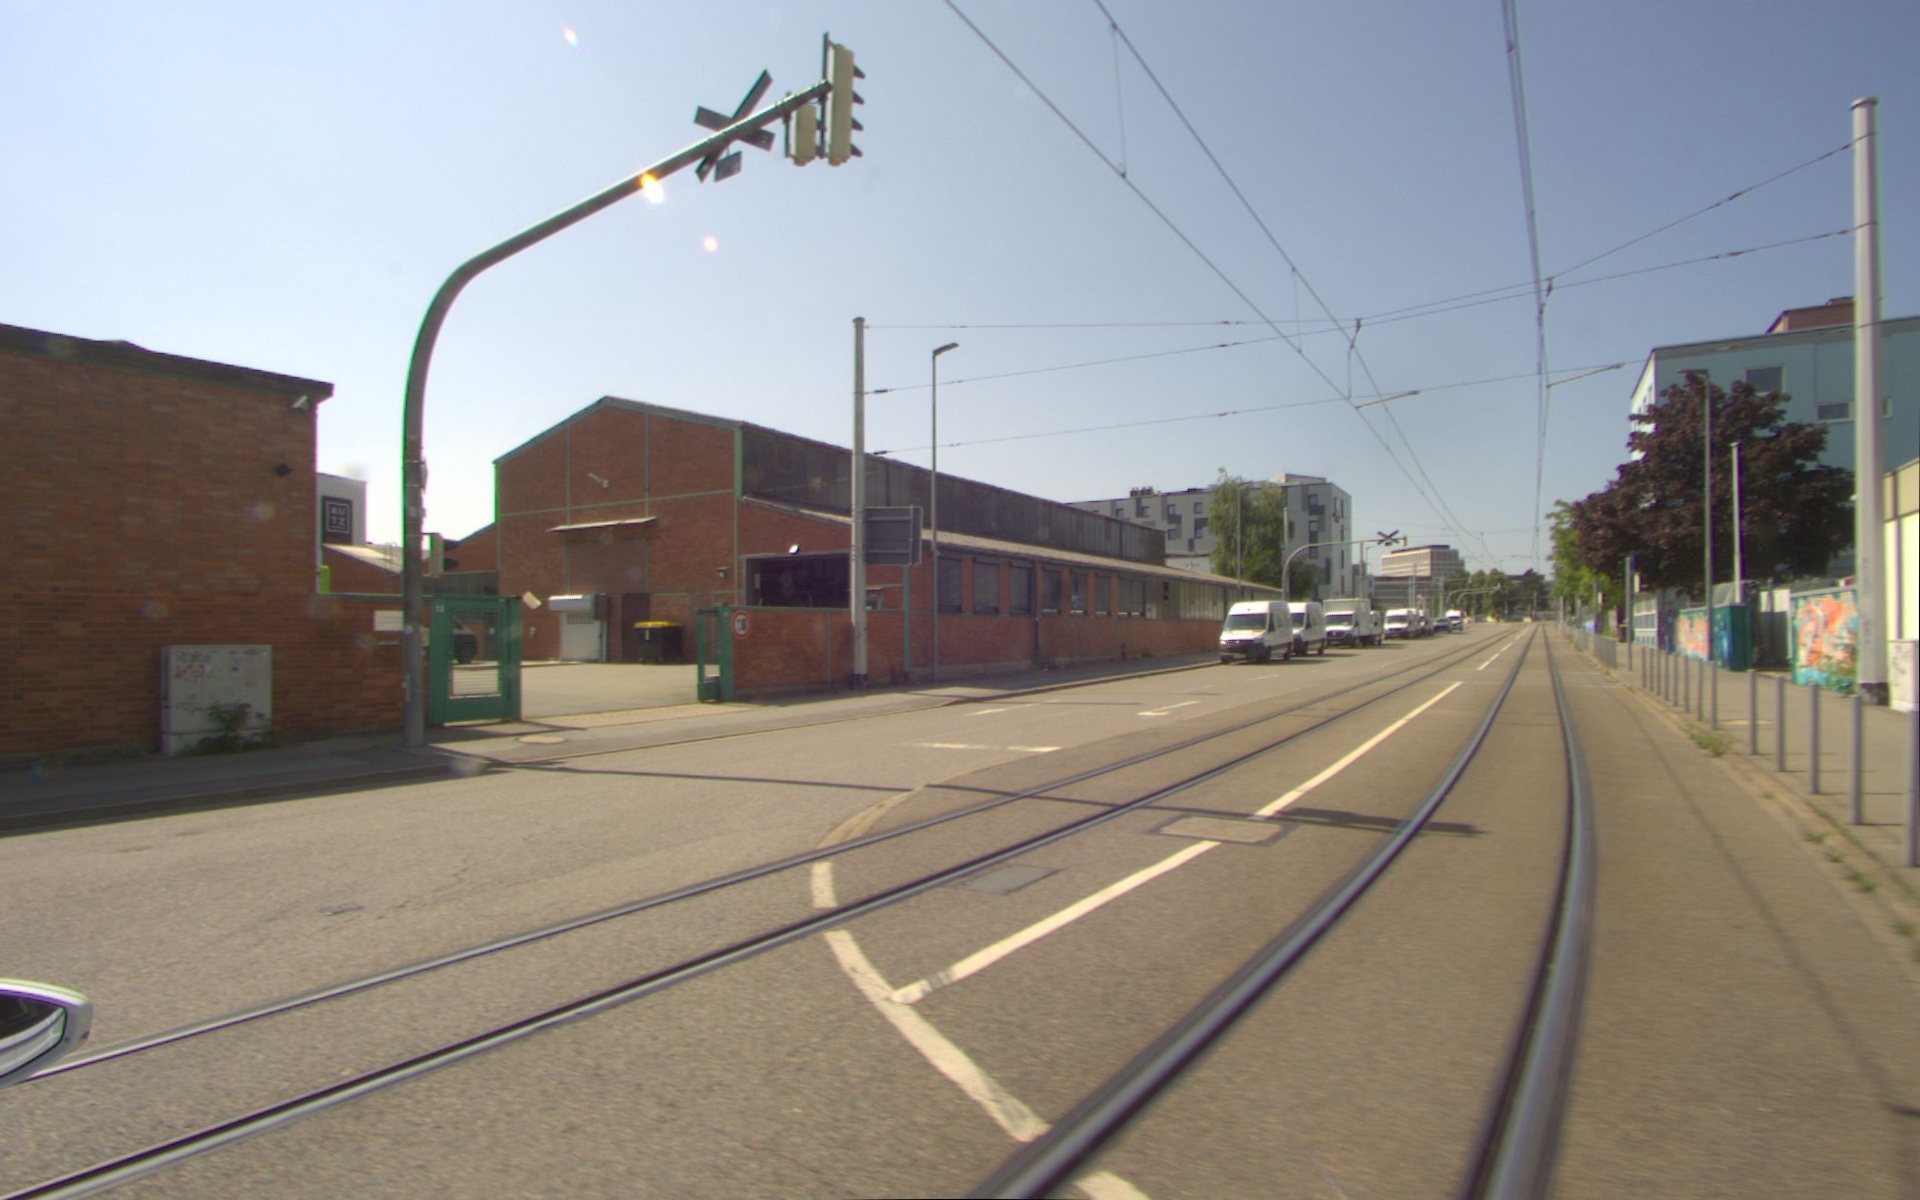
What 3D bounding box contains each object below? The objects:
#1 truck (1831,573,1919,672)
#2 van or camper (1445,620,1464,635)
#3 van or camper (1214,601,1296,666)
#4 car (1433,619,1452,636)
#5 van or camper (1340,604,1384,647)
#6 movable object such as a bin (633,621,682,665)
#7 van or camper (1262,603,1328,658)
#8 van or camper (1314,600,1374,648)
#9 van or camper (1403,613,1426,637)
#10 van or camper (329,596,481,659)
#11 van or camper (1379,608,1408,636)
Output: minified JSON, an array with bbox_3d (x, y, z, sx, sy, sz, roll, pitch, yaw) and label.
[{"bbox_3d":[27.020,0.593,27.258,4.772,2.660,2.175,-2,-1,36],"label":"truck"},{"bbox_3d":[68.185,3.817,138.049,1.972,2.039,3.980,-1,-1,32],"label":"van or camper"},{"bbox_3d":[12.701,1.405,42.846,2.014,2.566,5.843,-1,-1,30],"label":"van or camper"},{"bbox_3d":[59.348,3.339,123.144,1.800,2.039,3.817,-1,-1,30],"label":"car"},{"bbox_3d":[27.366,1.758,68.123,2.144,2.822,4.711,-1,-1,29],"label":"van or camper"},{"bbox_3d":[-9.511,1.342,31.537,1.136,1.331,0.972,-1,0,32],"label":"movable object such as a bin"},{"bbox_3d":[16.519,1.490,49.218,2.014,2.566,5.557,-1,-1,30],"label":"van or camper"},{"bbox_3d":[23.875,1.489,62.071,2.486,2.822,7.086,-1,-1,29],"label":"van or camper"},{"bbox_3d":[43.214,2.345,95.249,1.797,2.240,4.244,-1,-1,27],"label":"van or camper"},{"bbox_3d":[-18.554,0.982,33.740,1.962,1.923,4.422,0,-3,13],"label":"van or camper"},{"bbox_3d":[36.468,1.857,84.200,1.927,2.240,4.890,-1,-1,27],"label":"van or camper"}]
